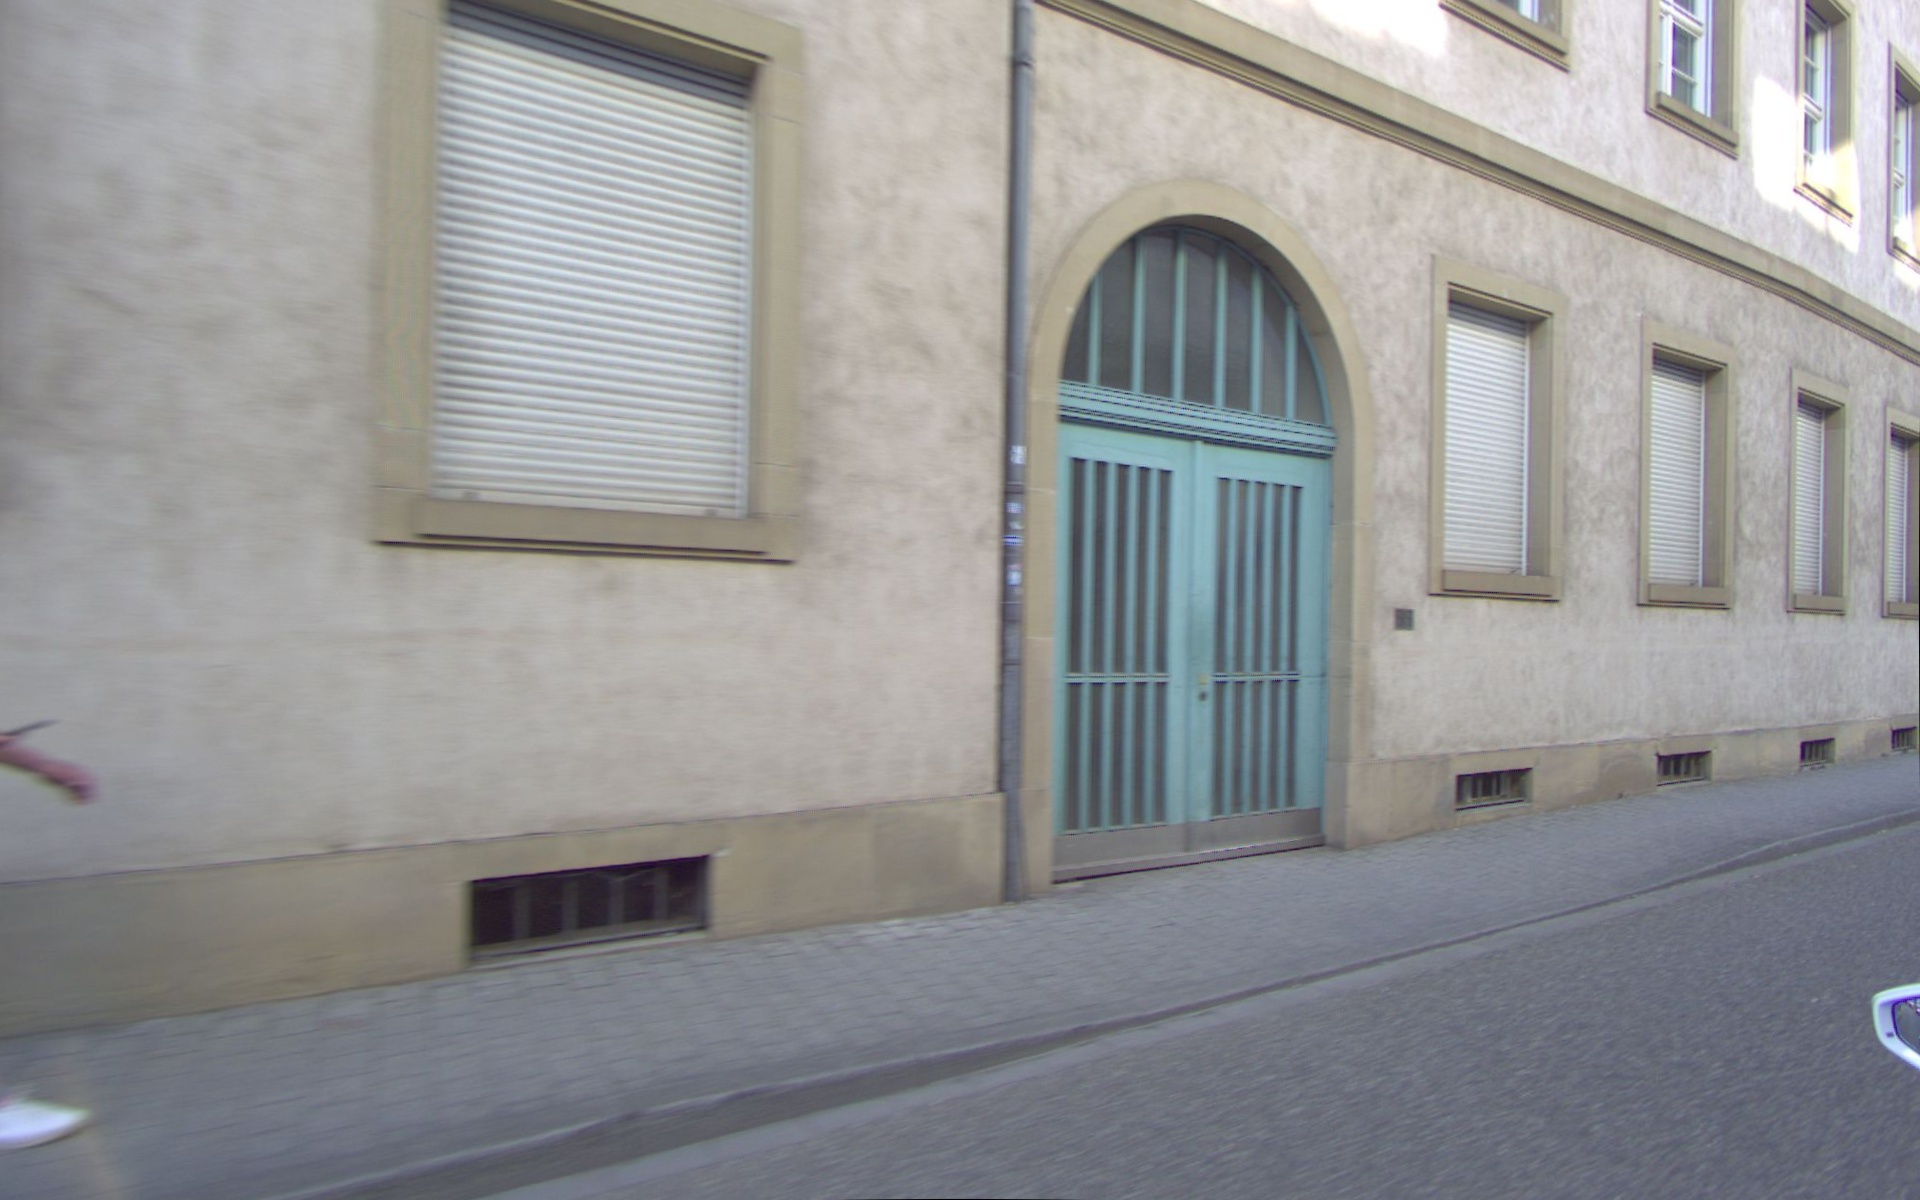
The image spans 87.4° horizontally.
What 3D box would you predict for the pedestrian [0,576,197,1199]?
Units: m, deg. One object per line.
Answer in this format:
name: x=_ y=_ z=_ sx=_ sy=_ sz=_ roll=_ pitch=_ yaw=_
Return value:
pedestrian: x=-2.673 y=0.779 z=2.705 sx=0.864 sy=1.692 sz=0.690 roll=1 pitch=0 yaw=-29
